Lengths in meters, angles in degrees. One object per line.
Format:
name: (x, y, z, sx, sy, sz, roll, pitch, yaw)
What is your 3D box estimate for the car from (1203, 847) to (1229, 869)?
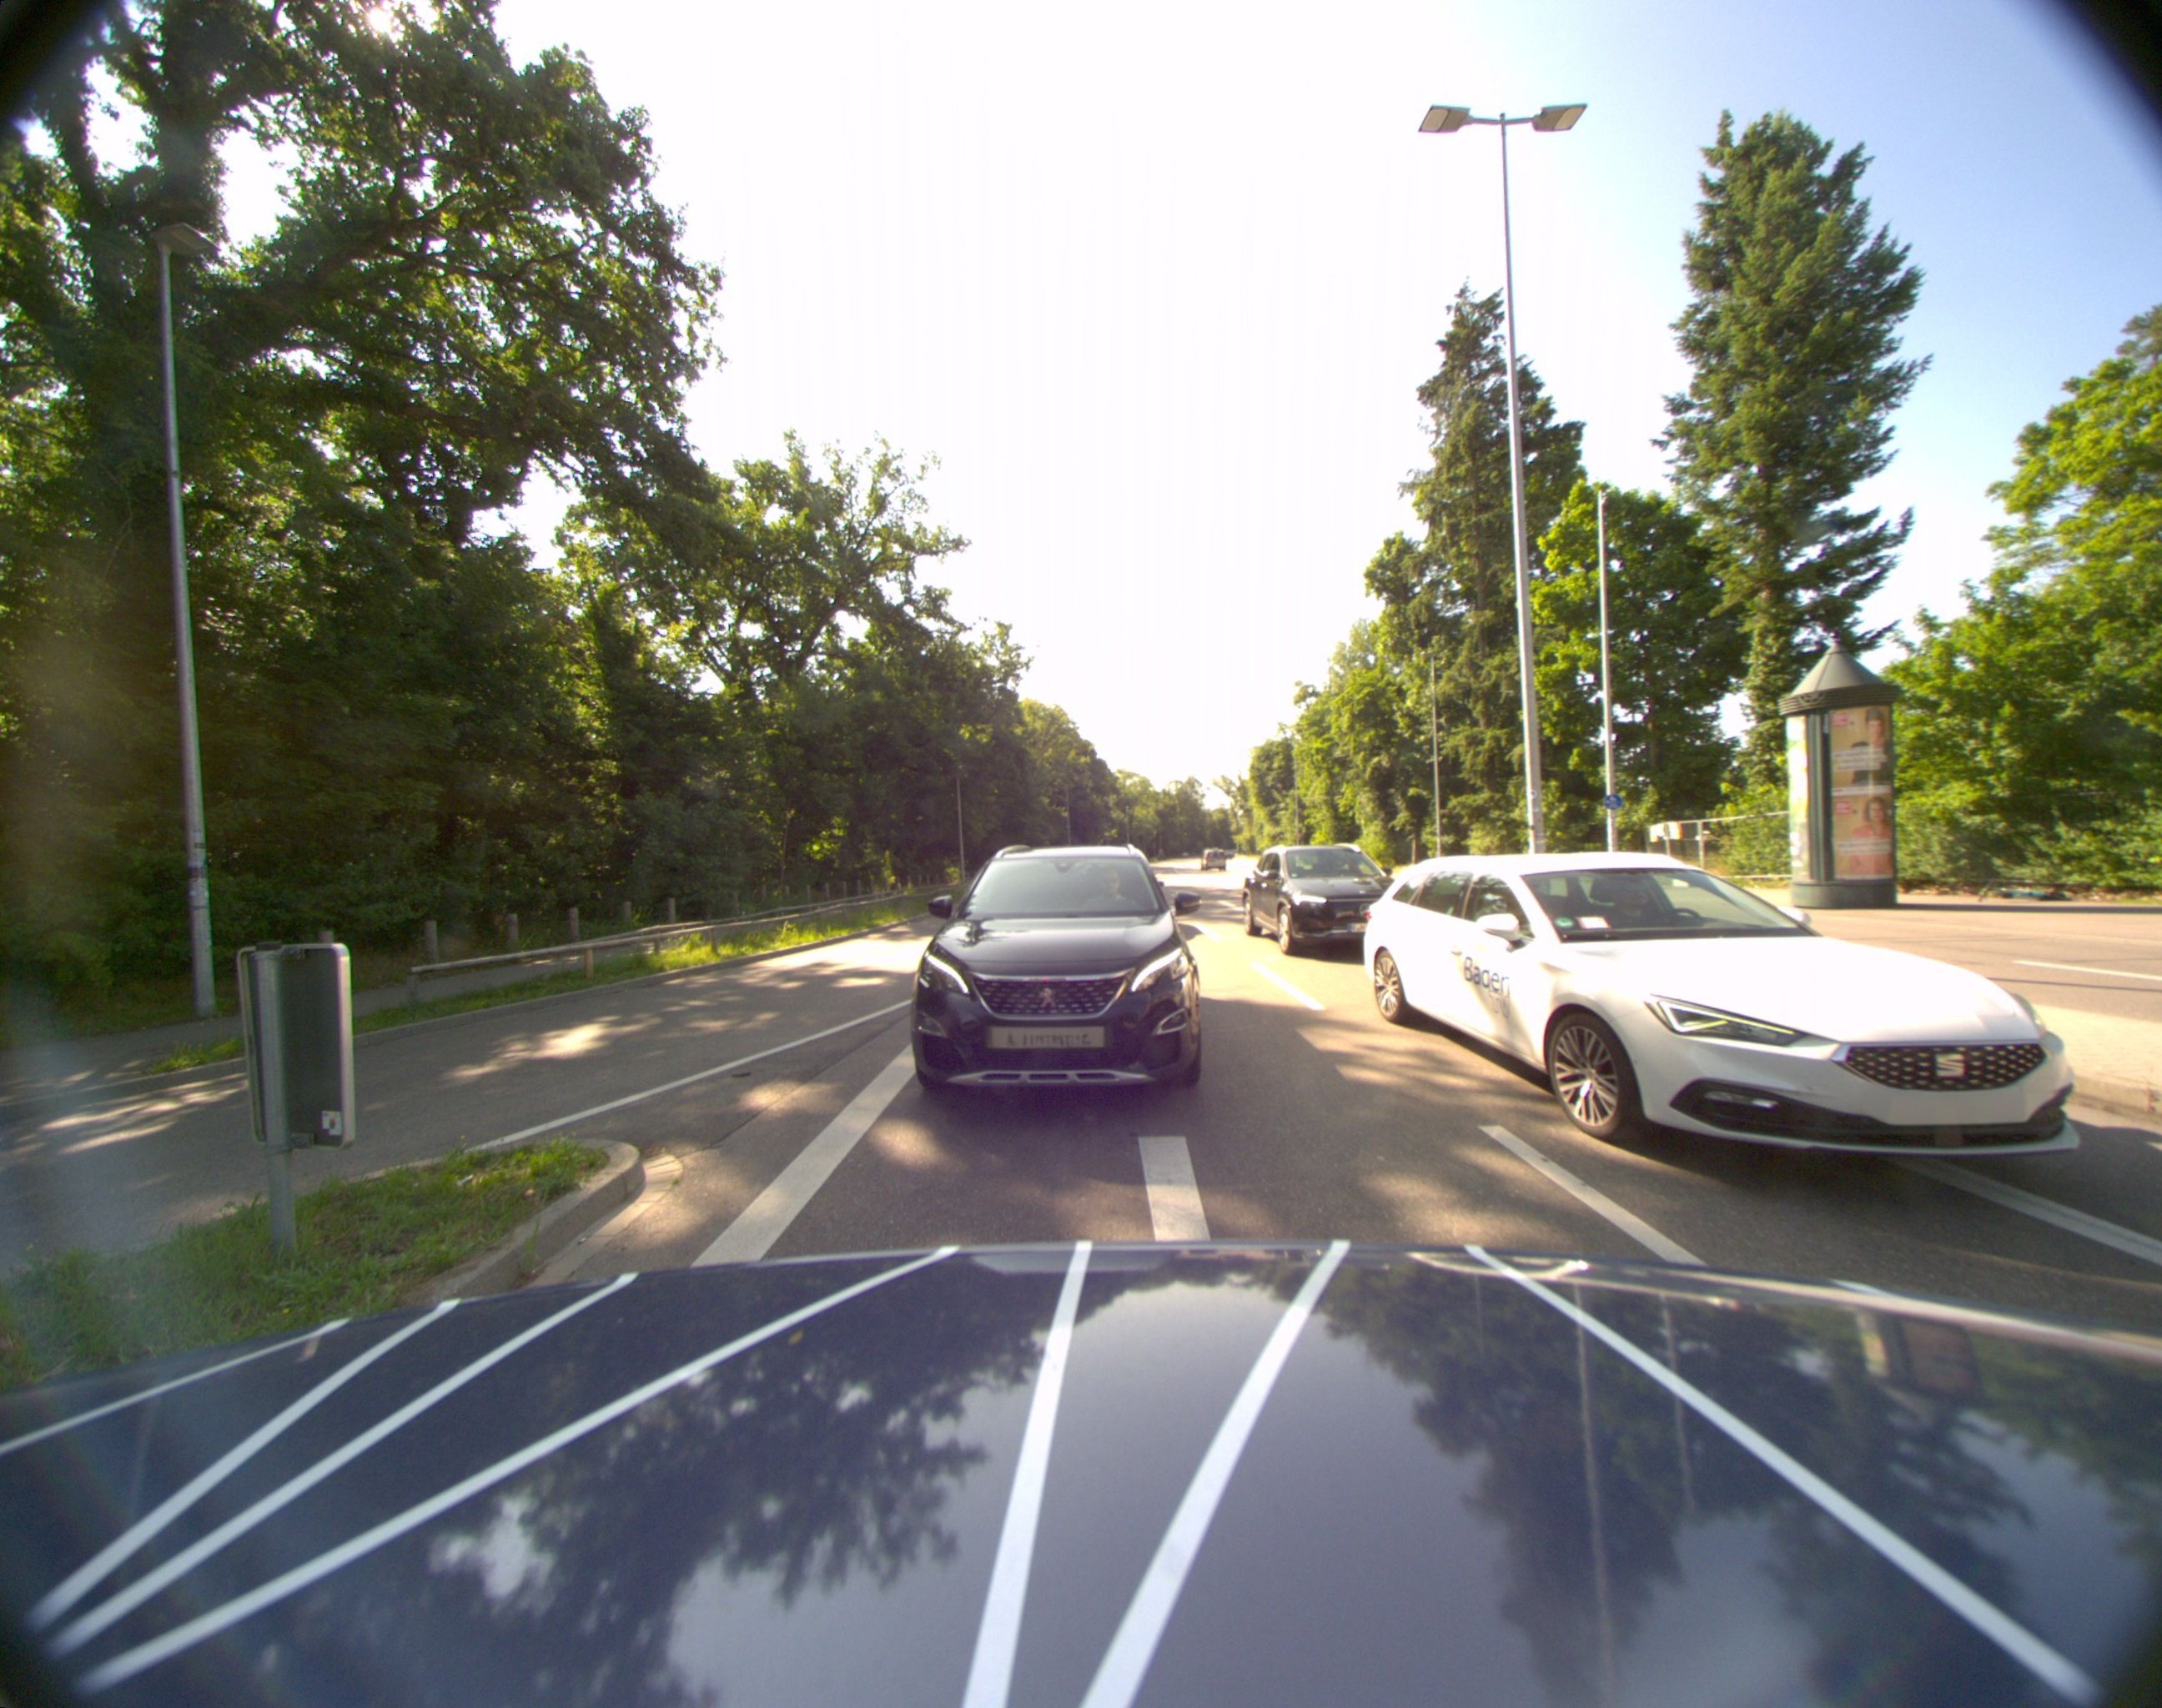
car: (12.052, 0.327, 68.188, 1.876, 1.849, 4.001, -2, 0, 5)

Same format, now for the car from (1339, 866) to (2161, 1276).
car: (3.404, 0.856, 5.203, 1.729, 1.418, 4.720, -1, 0, 1)

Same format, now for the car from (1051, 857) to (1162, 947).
car: (0.481, 0.867, 15.569, 1.933, 1.499, 4.000, -2, 0, 1)

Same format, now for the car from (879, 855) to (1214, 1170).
car: (-0.152, 0.848, 6.180, 1.702, 1.581, 4.319, -3, 0, 1)

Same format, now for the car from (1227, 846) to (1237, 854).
car: (31.958, -0.840, 160.618, 1.855, 1.608, 4.003, -2, 0, 10)

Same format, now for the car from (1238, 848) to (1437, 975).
car: (3.760, 0.766, 11.978, 1.809, 1.586, 4.274, -2, 0, 2)
